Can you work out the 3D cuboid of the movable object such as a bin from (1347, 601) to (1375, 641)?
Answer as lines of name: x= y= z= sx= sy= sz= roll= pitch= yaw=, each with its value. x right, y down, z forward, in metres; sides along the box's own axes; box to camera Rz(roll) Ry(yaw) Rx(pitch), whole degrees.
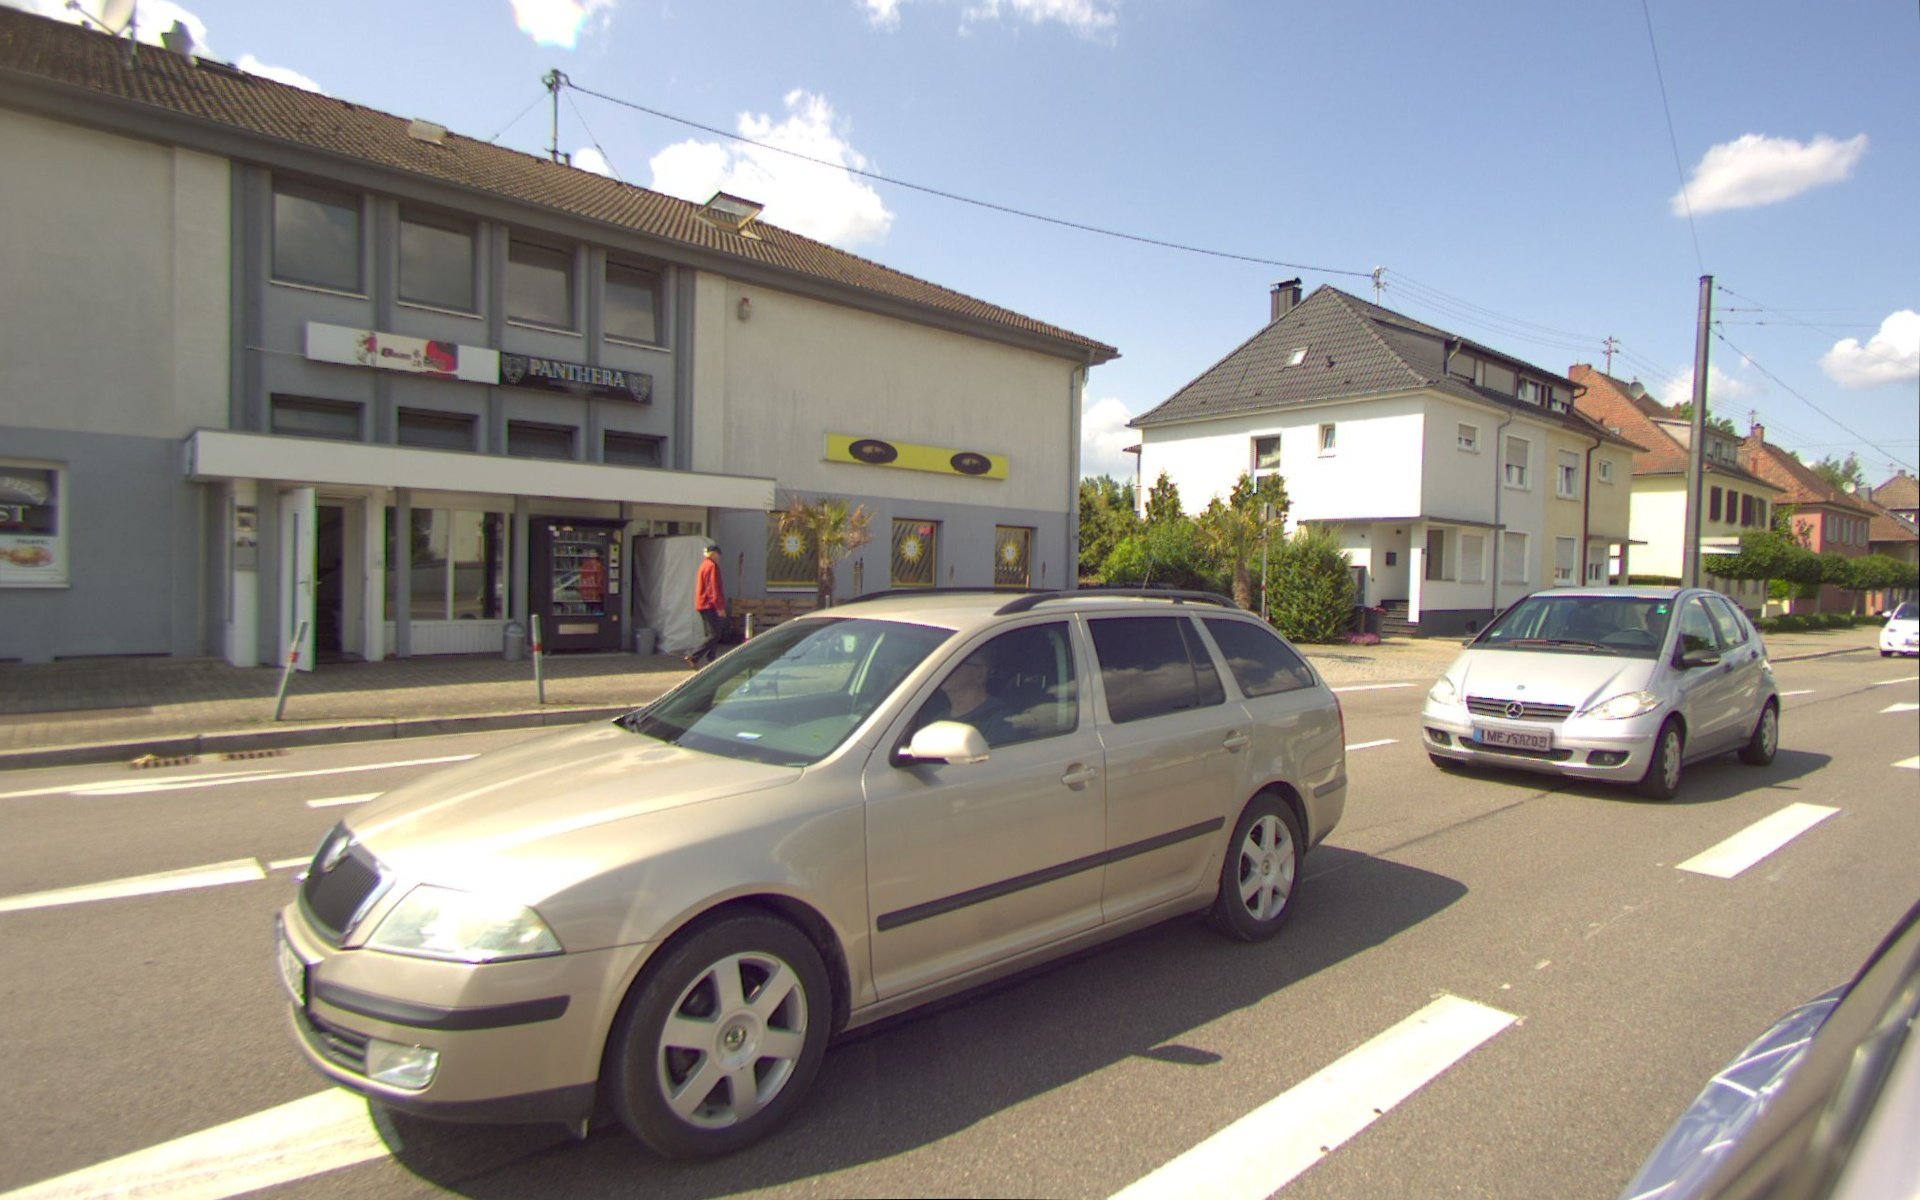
movable object such as a bin: x=9.849 y=0.500 z=24.865 sx=0.441 sy=0.946 sz=0.541 roll=3 pitch=2 yaw=44

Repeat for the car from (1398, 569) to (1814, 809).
car: x=5.686 y=0.574 z=8.740 sx=4.019 sy=1.596 sz=1.792 roll=0 pitch=1 yaw=-38

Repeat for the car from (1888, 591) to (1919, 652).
car: x=26.637 y=0.557 z=27.248 sx=3.926 sy=1.569 sz=1.778 roll=0 pitch=0 yaw=-37

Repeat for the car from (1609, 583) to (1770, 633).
car: x=25.289 y=0.238 z=35.237 sx=4.027 sy=1.476 sz=1.911 roll=3 pitch=1 yaw=10

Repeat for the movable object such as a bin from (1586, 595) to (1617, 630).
movable object such as a bin: x=20.083 y=0.376 z=31.682 sx=0.673 sy=1.061 sz=0.639 roll=0 pitch=1 yaw=-41

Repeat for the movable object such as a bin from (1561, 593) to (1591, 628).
movable object such as a bin: x=19.601 y=0.334 z=32.197 sx=0.648 sy=1.069 sz=0.646 roll=0 pitch=1 yaw=-41

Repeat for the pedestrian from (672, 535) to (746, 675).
pedestrian: x=-3.404 y=0.050 z=13.716 sx=0.690 sy=1.804 sz=0.724 roll=0 pitch=4 yaw=-38

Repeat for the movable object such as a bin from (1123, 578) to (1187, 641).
movable object such as a bin: x=4.450 y=0.212 z=23.133 sx=0.871 sy=1.349 sz=1.085 roll=3 pitch=0 yaw=-39

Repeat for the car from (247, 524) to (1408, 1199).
car: x=-0.061 y=0.584 z=4.161 sx=4.549 sy=1.511 sz=1.742 roll=0 pitch=1 yaw=-41

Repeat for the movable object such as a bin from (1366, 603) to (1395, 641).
movable object such as a bin: x=10.173 y=0.526 z=24.479 sx=0.445 sy=0.906 sz=0.537 roll=3 pitch=2 yaw=44

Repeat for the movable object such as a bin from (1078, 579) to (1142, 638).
movable object such as a bin: x=3.582 y=0.196 z=24.217 sx=0.869 sy=1.349 sz=1.210 roll=3 pitch=0 yaw=-32
